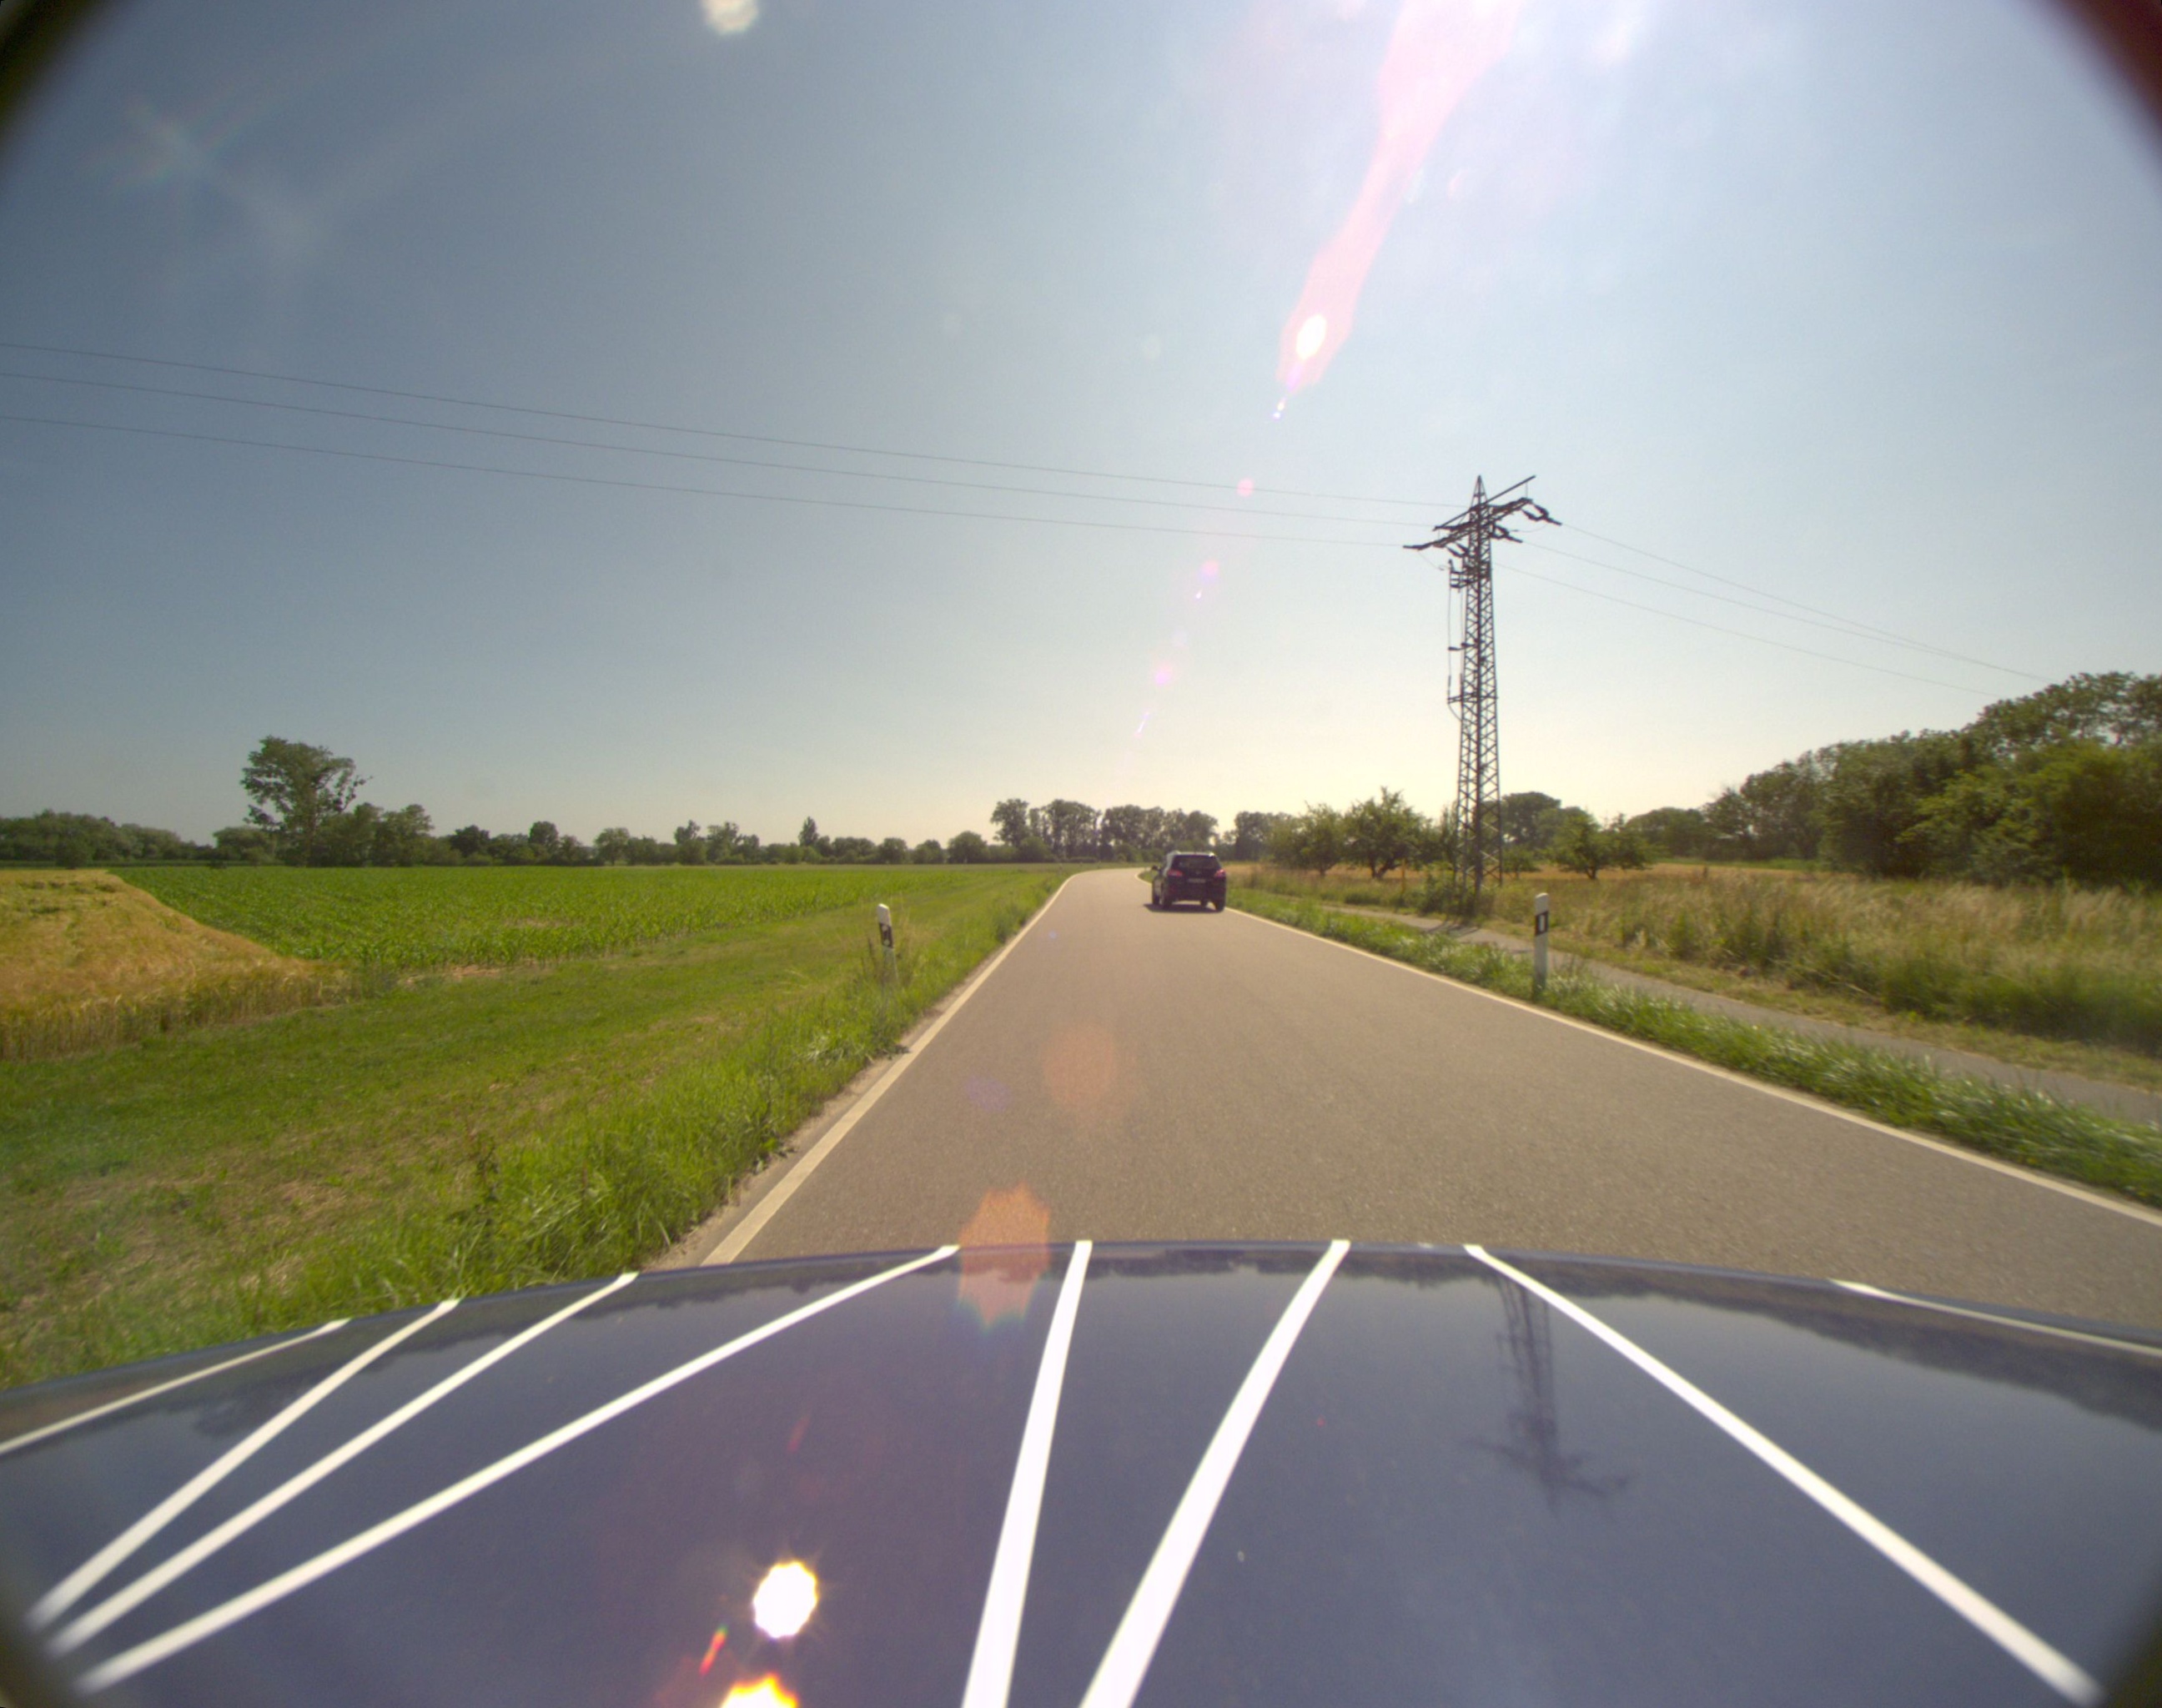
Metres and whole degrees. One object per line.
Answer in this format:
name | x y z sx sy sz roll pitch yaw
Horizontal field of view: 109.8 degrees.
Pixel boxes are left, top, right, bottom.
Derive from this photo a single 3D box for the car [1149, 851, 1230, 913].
car | 3.333 0.811 24.106 1.870 1.742 4.296 1 0 -1
